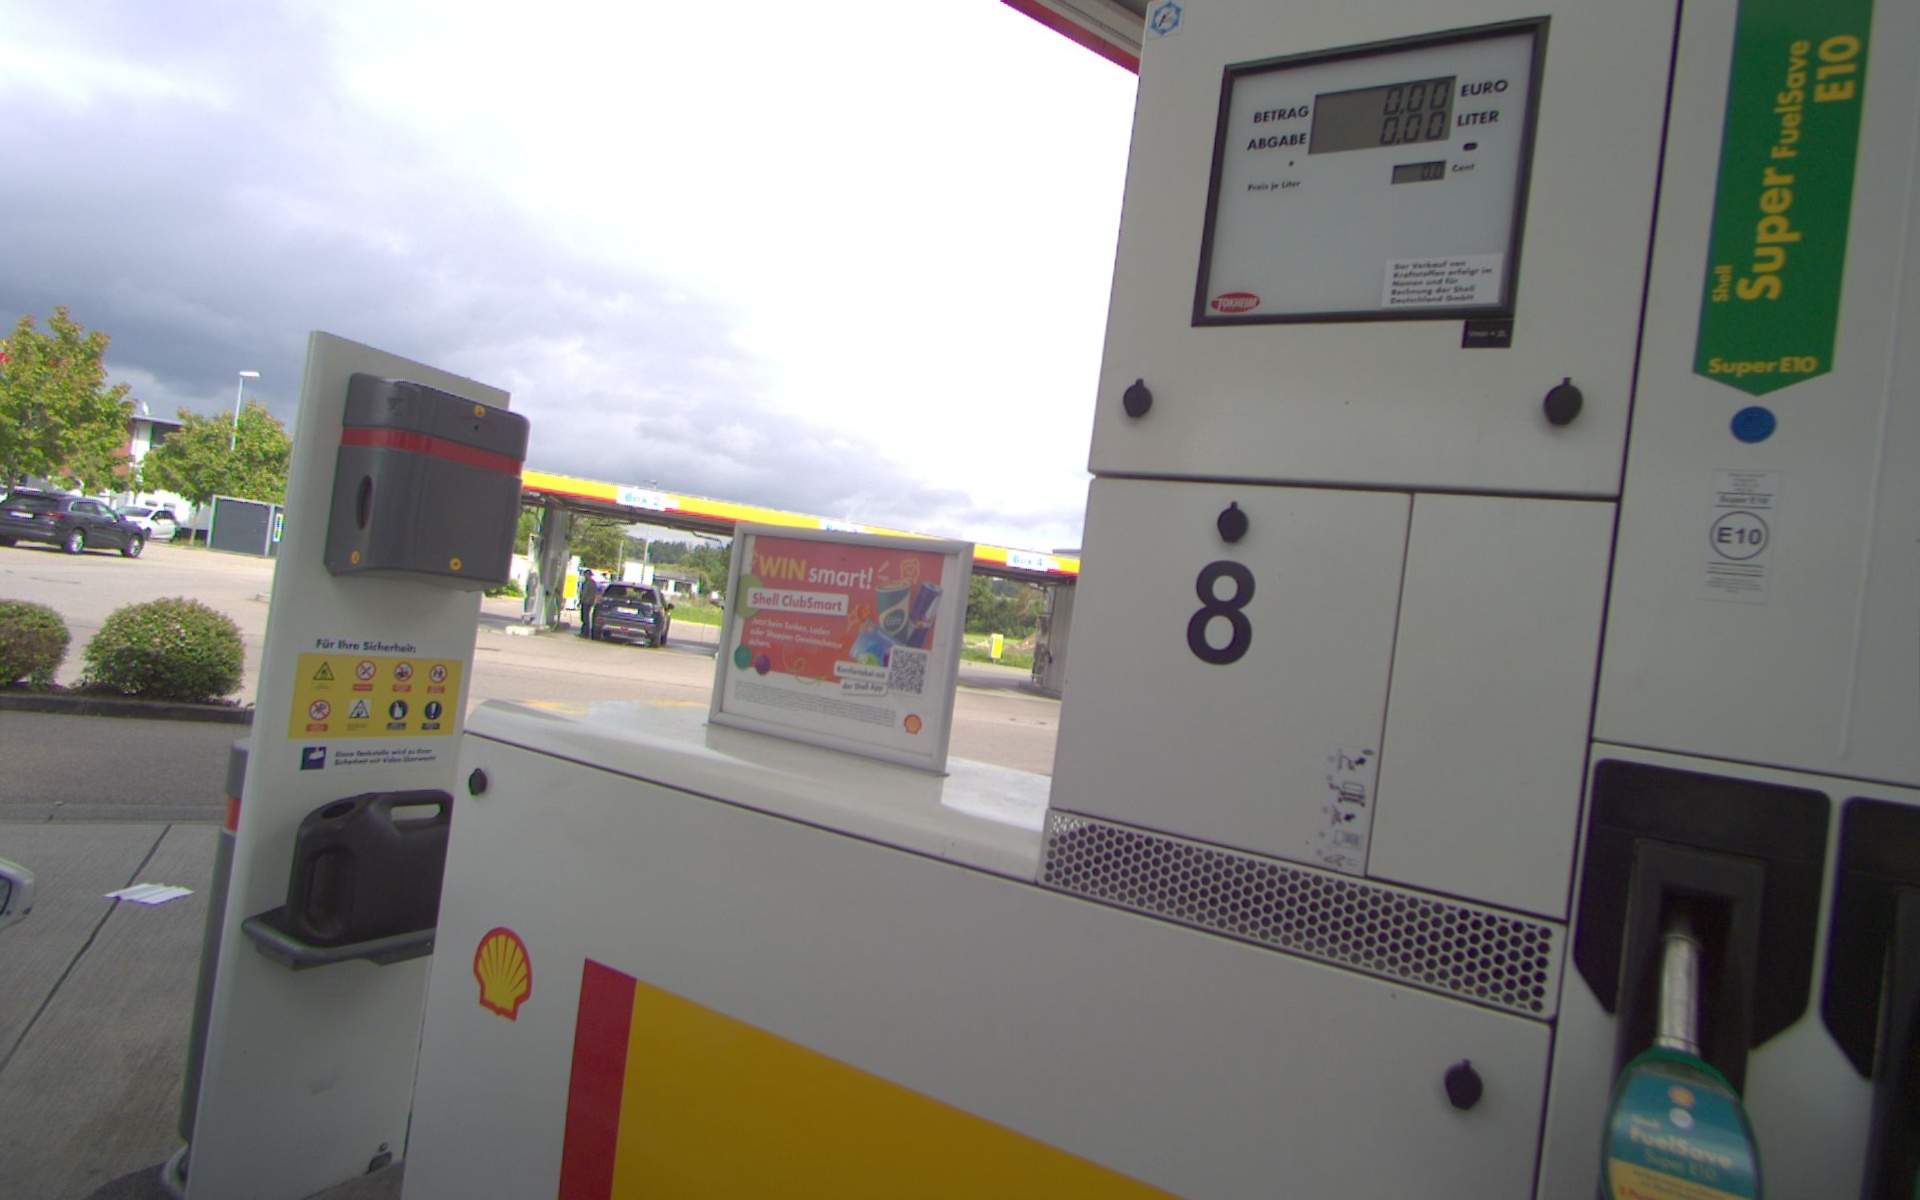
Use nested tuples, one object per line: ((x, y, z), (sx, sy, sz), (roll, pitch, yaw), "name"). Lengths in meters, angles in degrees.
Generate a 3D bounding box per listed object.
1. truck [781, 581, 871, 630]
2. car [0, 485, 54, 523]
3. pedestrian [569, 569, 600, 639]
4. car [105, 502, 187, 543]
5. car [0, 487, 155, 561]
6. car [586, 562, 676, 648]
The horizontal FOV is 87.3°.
((-13.001, 0.554, 97.509), (7.978, 3.575, 2.687), (8, -2, -19), "truck")
((-57.346, -5.899, 60.244), (2.149, 1.854, 4.870), (8, -2, -11), "car")
((-9.754, 0.096, 26.155), (0.550, 1.742, 0.526), (7, -1, -21), "pedestrian")
((-35.245, -3.336, 43.649), (1.346, 1.322, 3.098), (8, -2, -12), "car")
((-25.916, -2.163, 29.263), (1.855, 1.566, 4.498), (8, -2, -10), "car")
((-8.684, 0.153, 26.865), (1.696, 1.919, 3.800), (8, -2, -12), "car")
